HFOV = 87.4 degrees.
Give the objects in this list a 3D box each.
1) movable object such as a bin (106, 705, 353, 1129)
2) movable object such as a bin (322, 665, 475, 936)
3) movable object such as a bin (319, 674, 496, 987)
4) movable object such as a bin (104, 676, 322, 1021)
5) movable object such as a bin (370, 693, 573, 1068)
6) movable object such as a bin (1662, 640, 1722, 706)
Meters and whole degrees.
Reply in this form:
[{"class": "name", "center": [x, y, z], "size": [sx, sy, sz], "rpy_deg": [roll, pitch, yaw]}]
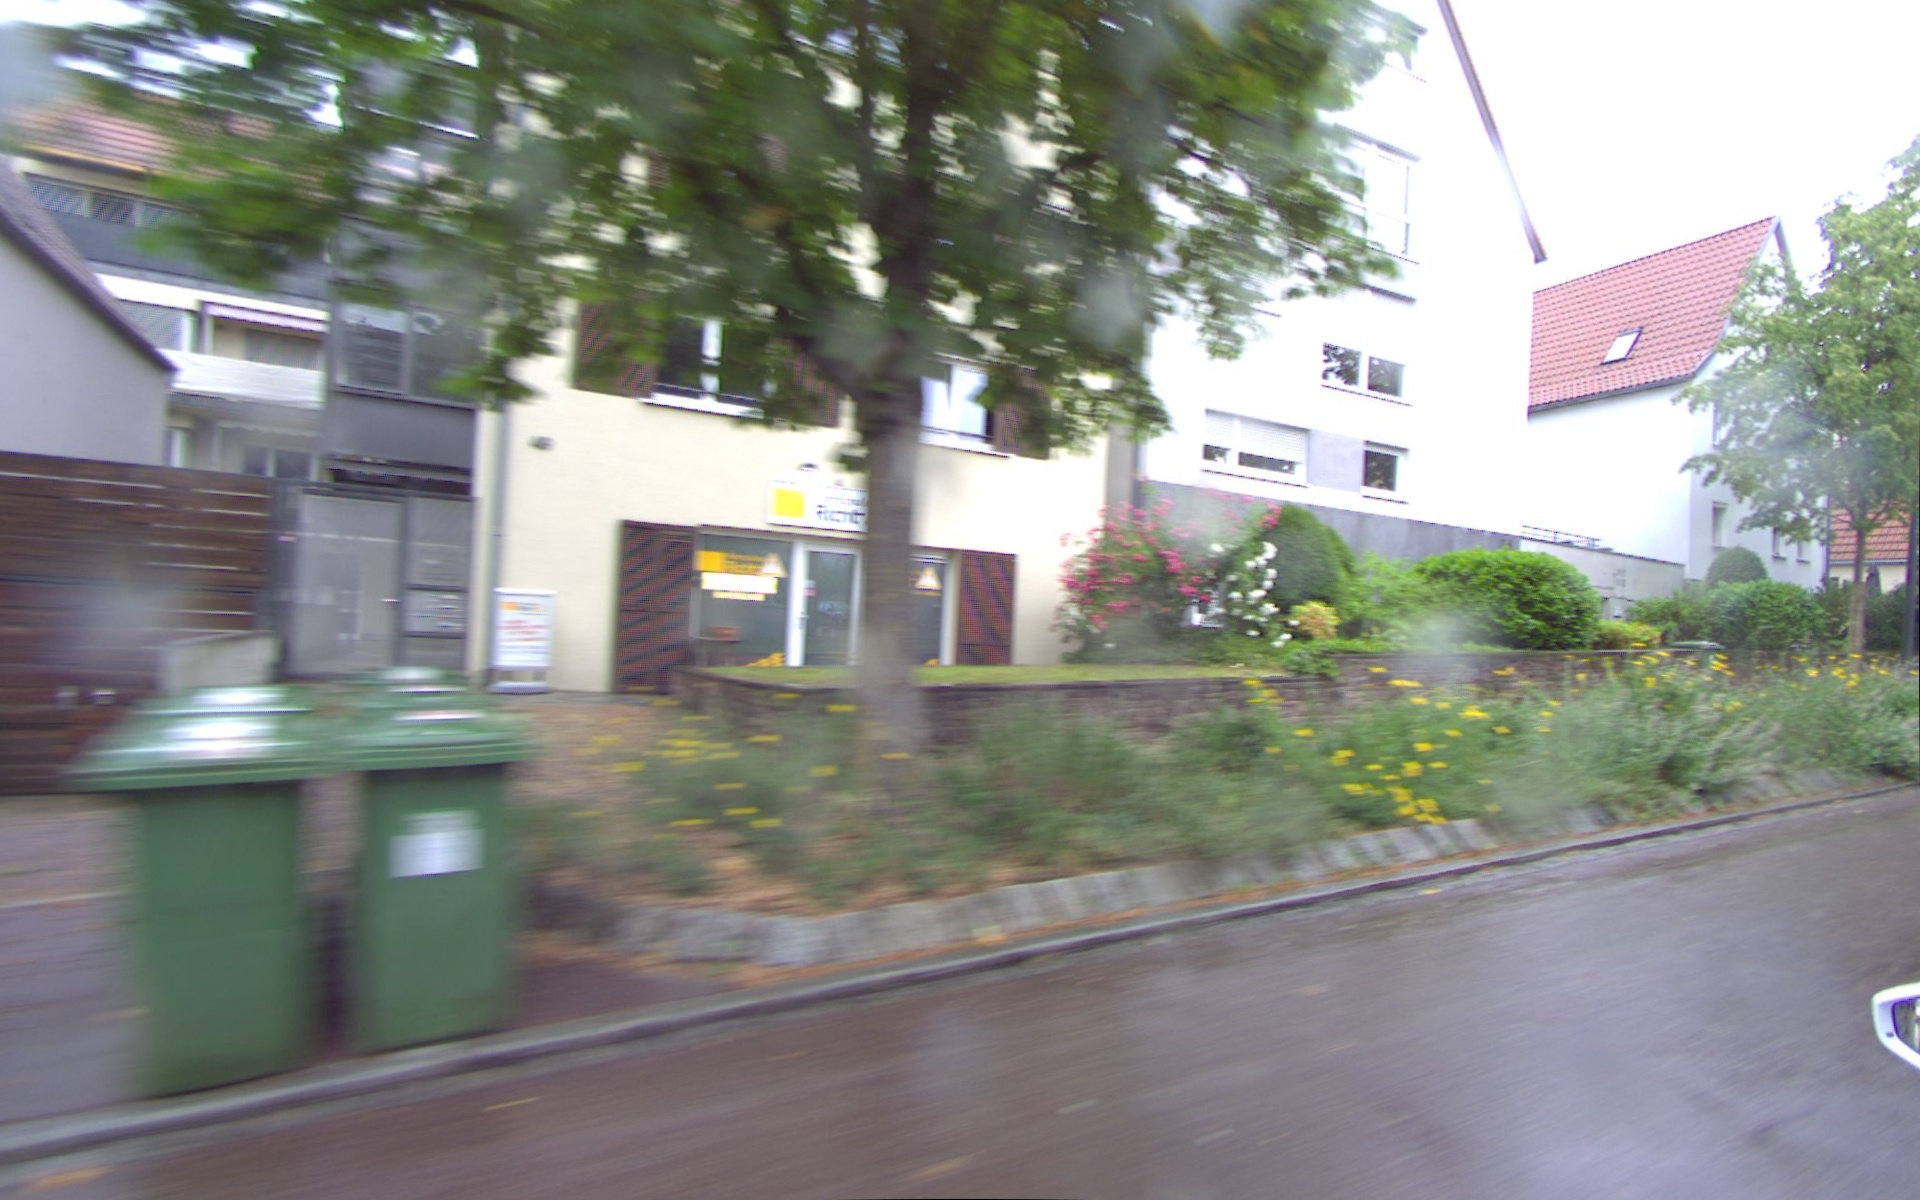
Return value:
[{"class": "movable object such as a bin", "center": [-2.257, 0.918, 3.173], "size": [0.558, 1.073, 0.624], "rpy_deg": [1, 2, -31]}, {"class": "movable object such as a bin", "center": [-2.580, 0.869, 4.615], "size": [0.555, 1.073, 0.613], "rpy_deg": [1, 2, -31]}, {"class": "movable object such as a bin", "center": [-2.238, 0.871, 4.067], "size": [0.562, 1.073, 0.613], "rpy_deg": [1, 2, -31]}, {"class": "movable object such as a bin", "center": [-2.745, 0.858, 3.748], "size": [0.575, 1.075, 0.620], "rpy_deg": [1, 2, -31]}, {"class": "movable object such as a bin", "center": [-1.726, 0.914, 3.527], "size": [0.564, 1.091, 0.580], "rpy_deg": [1, 2, -32]}, {"class": "movable object such as a bin", "center": [13.322, 1.311, 18.282], "size": [0.651, 1.148, 0.660], "rpy_deg": [1, 0, -28]}]
